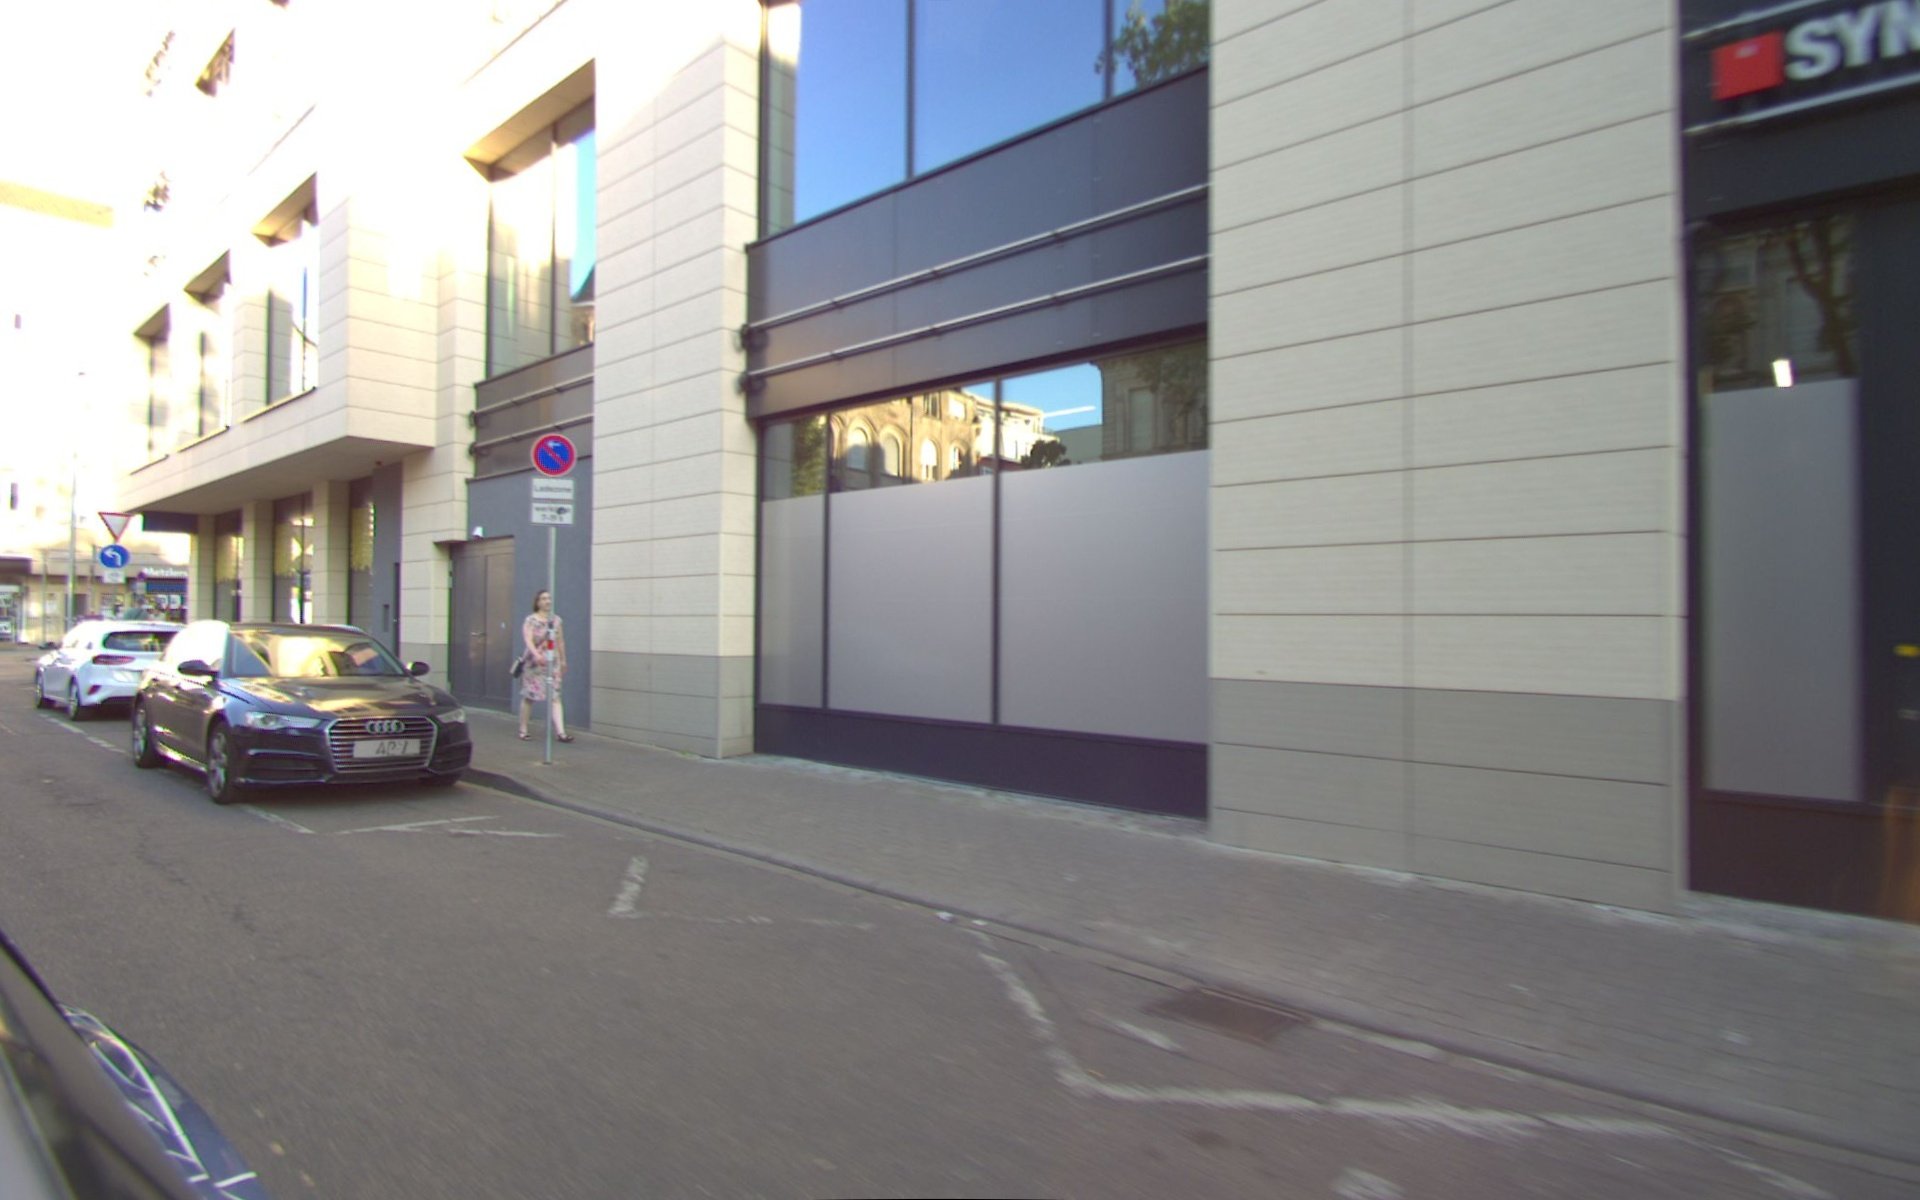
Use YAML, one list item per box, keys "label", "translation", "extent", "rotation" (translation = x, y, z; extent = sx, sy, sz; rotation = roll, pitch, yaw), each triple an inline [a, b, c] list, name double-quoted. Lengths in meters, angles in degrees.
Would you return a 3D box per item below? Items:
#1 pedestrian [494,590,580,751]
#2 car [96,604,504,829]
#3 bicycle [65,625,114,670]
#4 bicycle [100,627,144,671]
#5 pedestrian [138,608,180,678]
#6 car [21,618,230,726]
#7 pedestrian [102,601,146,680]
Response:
- label: "pedestrian"
  translation: [-4.810, 0.776, 11.511]
  extent: [0.647, 1.758, 0.665]
  rotation: [-1, -2, 41]
- label: "car"
  translation: [-6.319, 0.878, 9.460]
  extent: [4.684, 1.610, 1.865]
  rotation: [-1, -2, 39]
- label: "bicycle"
  translation: [-25.743, 1.377, 29.922]
  extent: [2.137, 1.264, 0.657]
  rotation: [0, -1, 37]
- label: "bicycle"
  translation: [-25.314, 1.455, 30.550]
  extent: [2.041, 1.264, 0.575]
  rotation: [0, -1, 37]
- label: "pedestrian"
  translation: [-19.646, 1.038, 24.823]
  extent: [0.646, 1.687, 0.665]
  rotation: [-1, -2, 38]
- label: "car"
  translation: [-13.146, 1.027, 15.862]
  extent: [4.227, 1.464, 1.760]
  rotation: [-1, -2, 40]
- label: "pedestrian"
  translation: [-20.065, 0.969, 24.291]
  extent: [0.646, 1.850, 0.665]
  rotation: [-1, -2, 38]
